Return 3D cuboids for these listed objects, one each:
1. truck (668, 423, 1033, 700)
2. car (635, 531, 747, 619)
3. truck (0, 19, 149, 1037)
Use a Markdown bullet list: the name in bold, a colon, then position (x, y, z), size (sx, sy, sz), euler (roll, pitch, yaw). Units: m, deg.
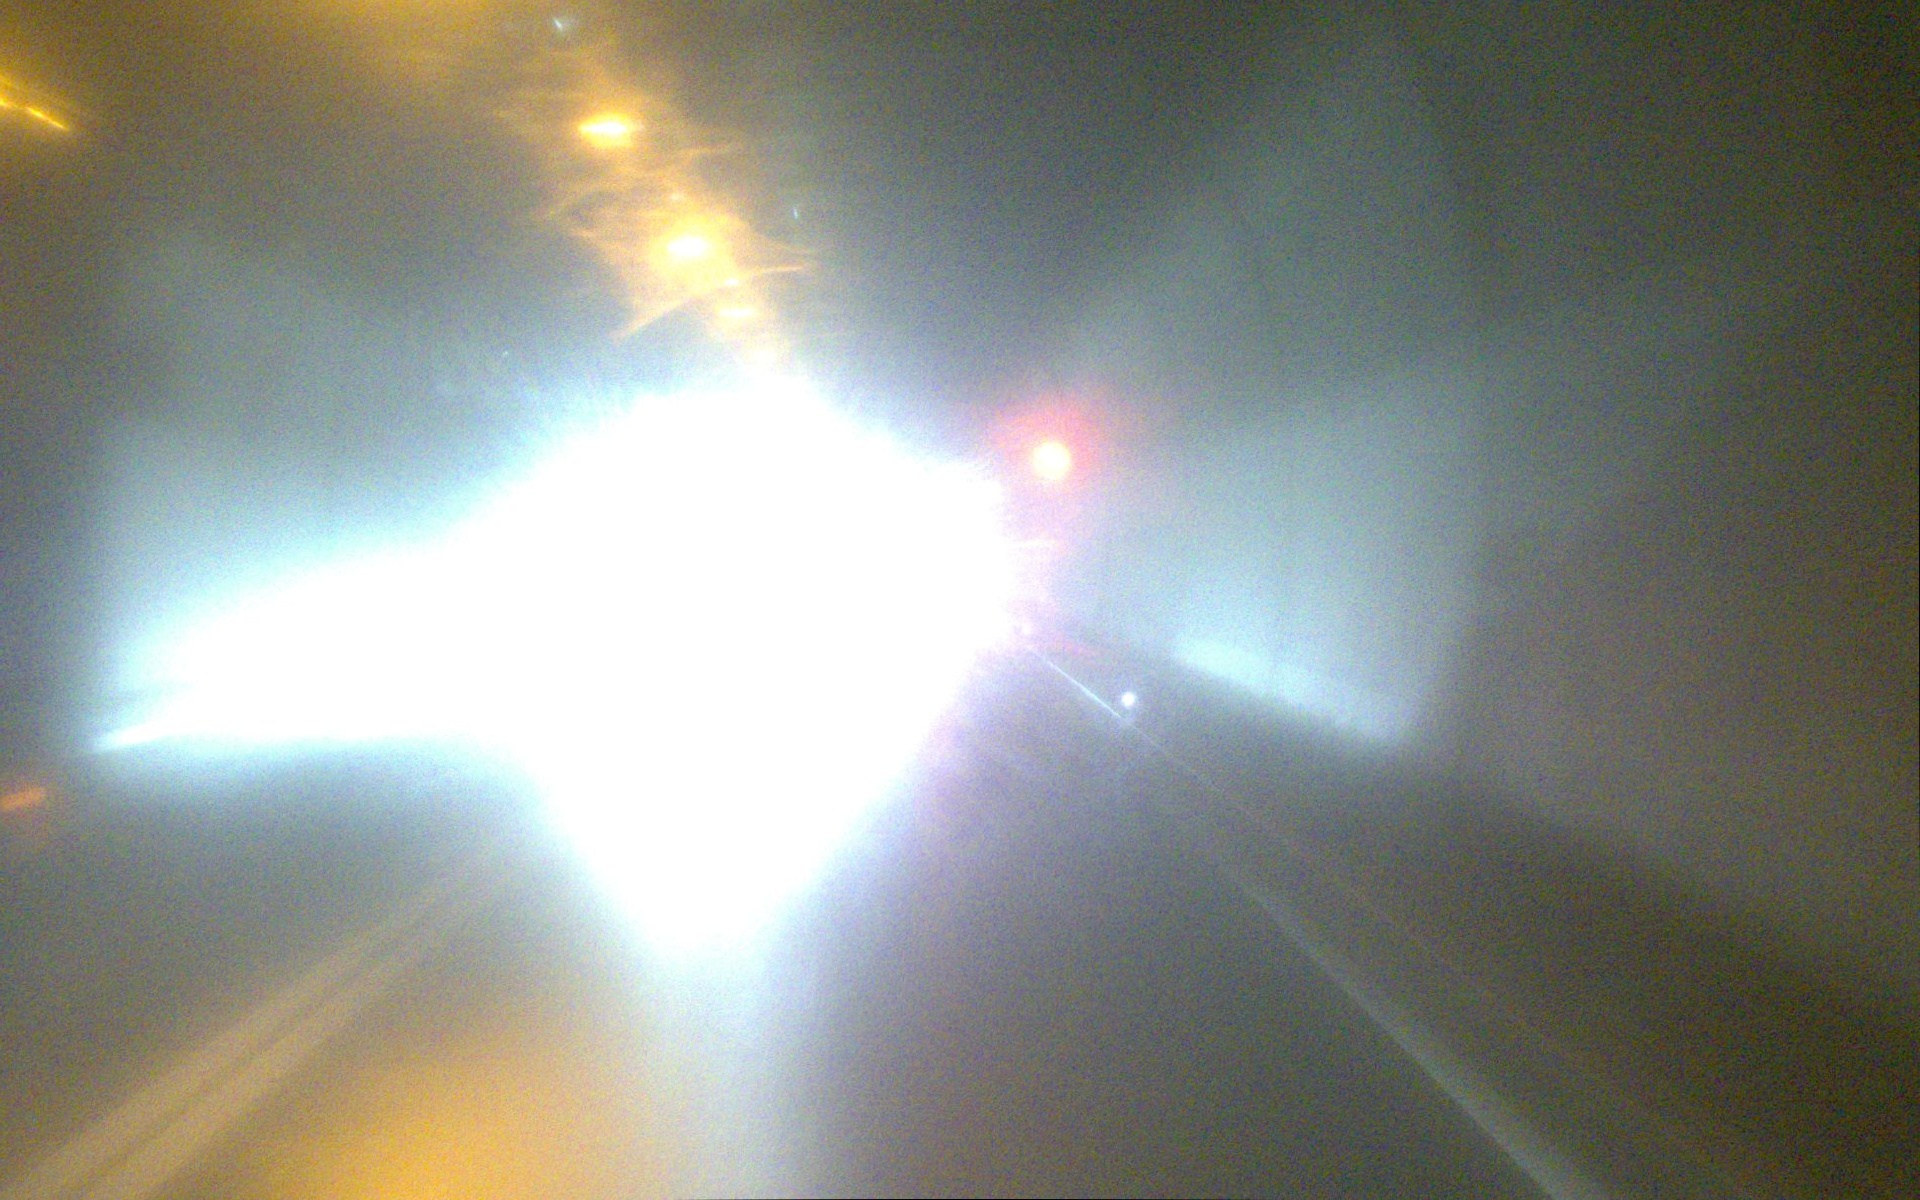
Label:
- **truck**: position (-1.124, -0.444, 37.974), size (3.535, 2.684, 8.956), euler (0, 1, -1)
- **car**: position (-4.671, -0.455, 60.109), size (1.794, 1.477, 3.869), euler (0, 1, -2)
- **truck**: position (-3.932, -0.194, 9.000), size (2.279, 3.006, 6.595), euler (1, 1, -2)
